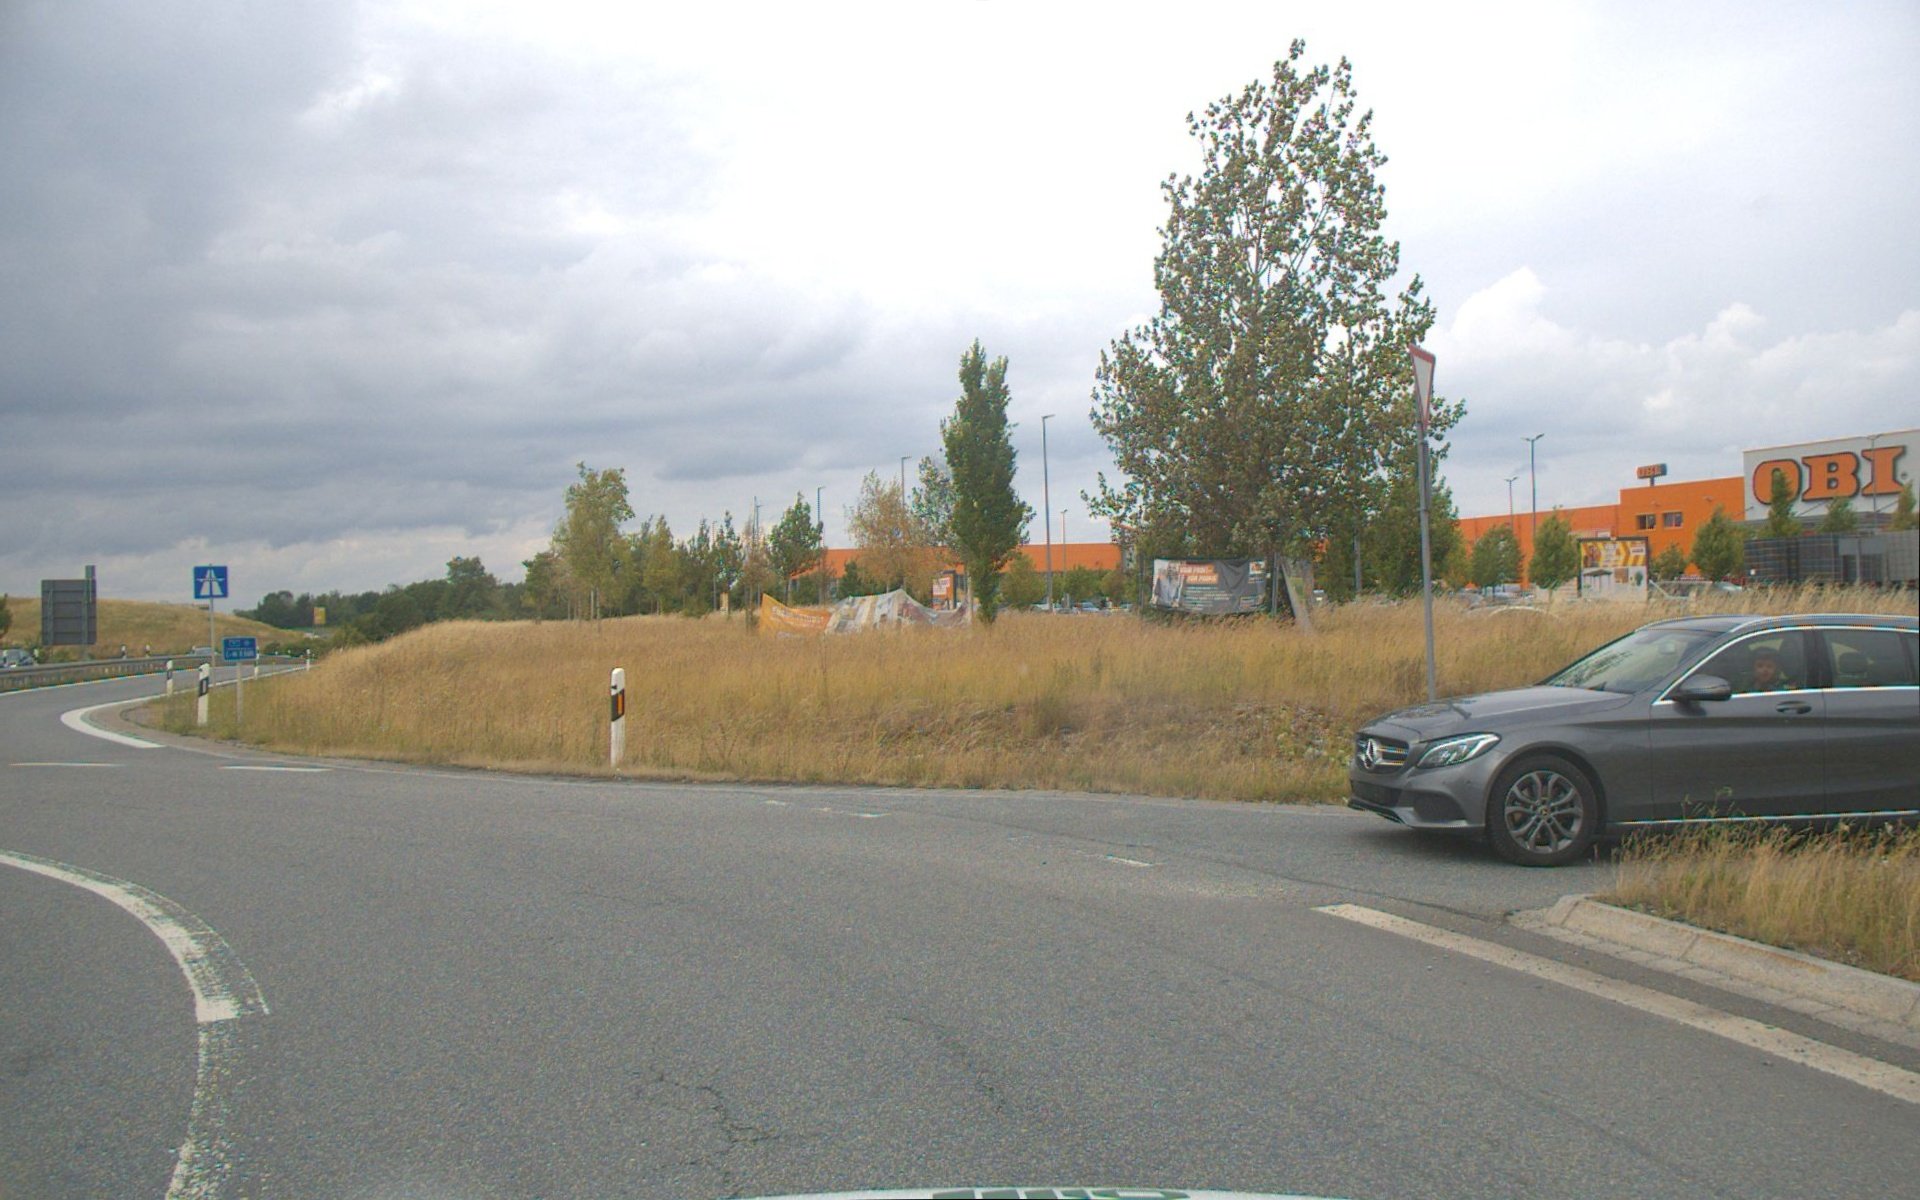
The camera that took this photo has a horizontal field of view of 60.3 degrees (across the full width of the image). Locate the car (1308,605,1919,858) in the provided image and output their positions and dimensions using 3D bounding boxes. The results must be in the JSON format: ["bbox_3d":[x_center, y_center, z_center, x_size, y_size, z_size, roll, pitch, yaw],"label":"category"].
[{"bbox_3d":[4.764,0.757,10.630,4.584,1.428,1.925,0,-1,-8],"label":"car"}]
